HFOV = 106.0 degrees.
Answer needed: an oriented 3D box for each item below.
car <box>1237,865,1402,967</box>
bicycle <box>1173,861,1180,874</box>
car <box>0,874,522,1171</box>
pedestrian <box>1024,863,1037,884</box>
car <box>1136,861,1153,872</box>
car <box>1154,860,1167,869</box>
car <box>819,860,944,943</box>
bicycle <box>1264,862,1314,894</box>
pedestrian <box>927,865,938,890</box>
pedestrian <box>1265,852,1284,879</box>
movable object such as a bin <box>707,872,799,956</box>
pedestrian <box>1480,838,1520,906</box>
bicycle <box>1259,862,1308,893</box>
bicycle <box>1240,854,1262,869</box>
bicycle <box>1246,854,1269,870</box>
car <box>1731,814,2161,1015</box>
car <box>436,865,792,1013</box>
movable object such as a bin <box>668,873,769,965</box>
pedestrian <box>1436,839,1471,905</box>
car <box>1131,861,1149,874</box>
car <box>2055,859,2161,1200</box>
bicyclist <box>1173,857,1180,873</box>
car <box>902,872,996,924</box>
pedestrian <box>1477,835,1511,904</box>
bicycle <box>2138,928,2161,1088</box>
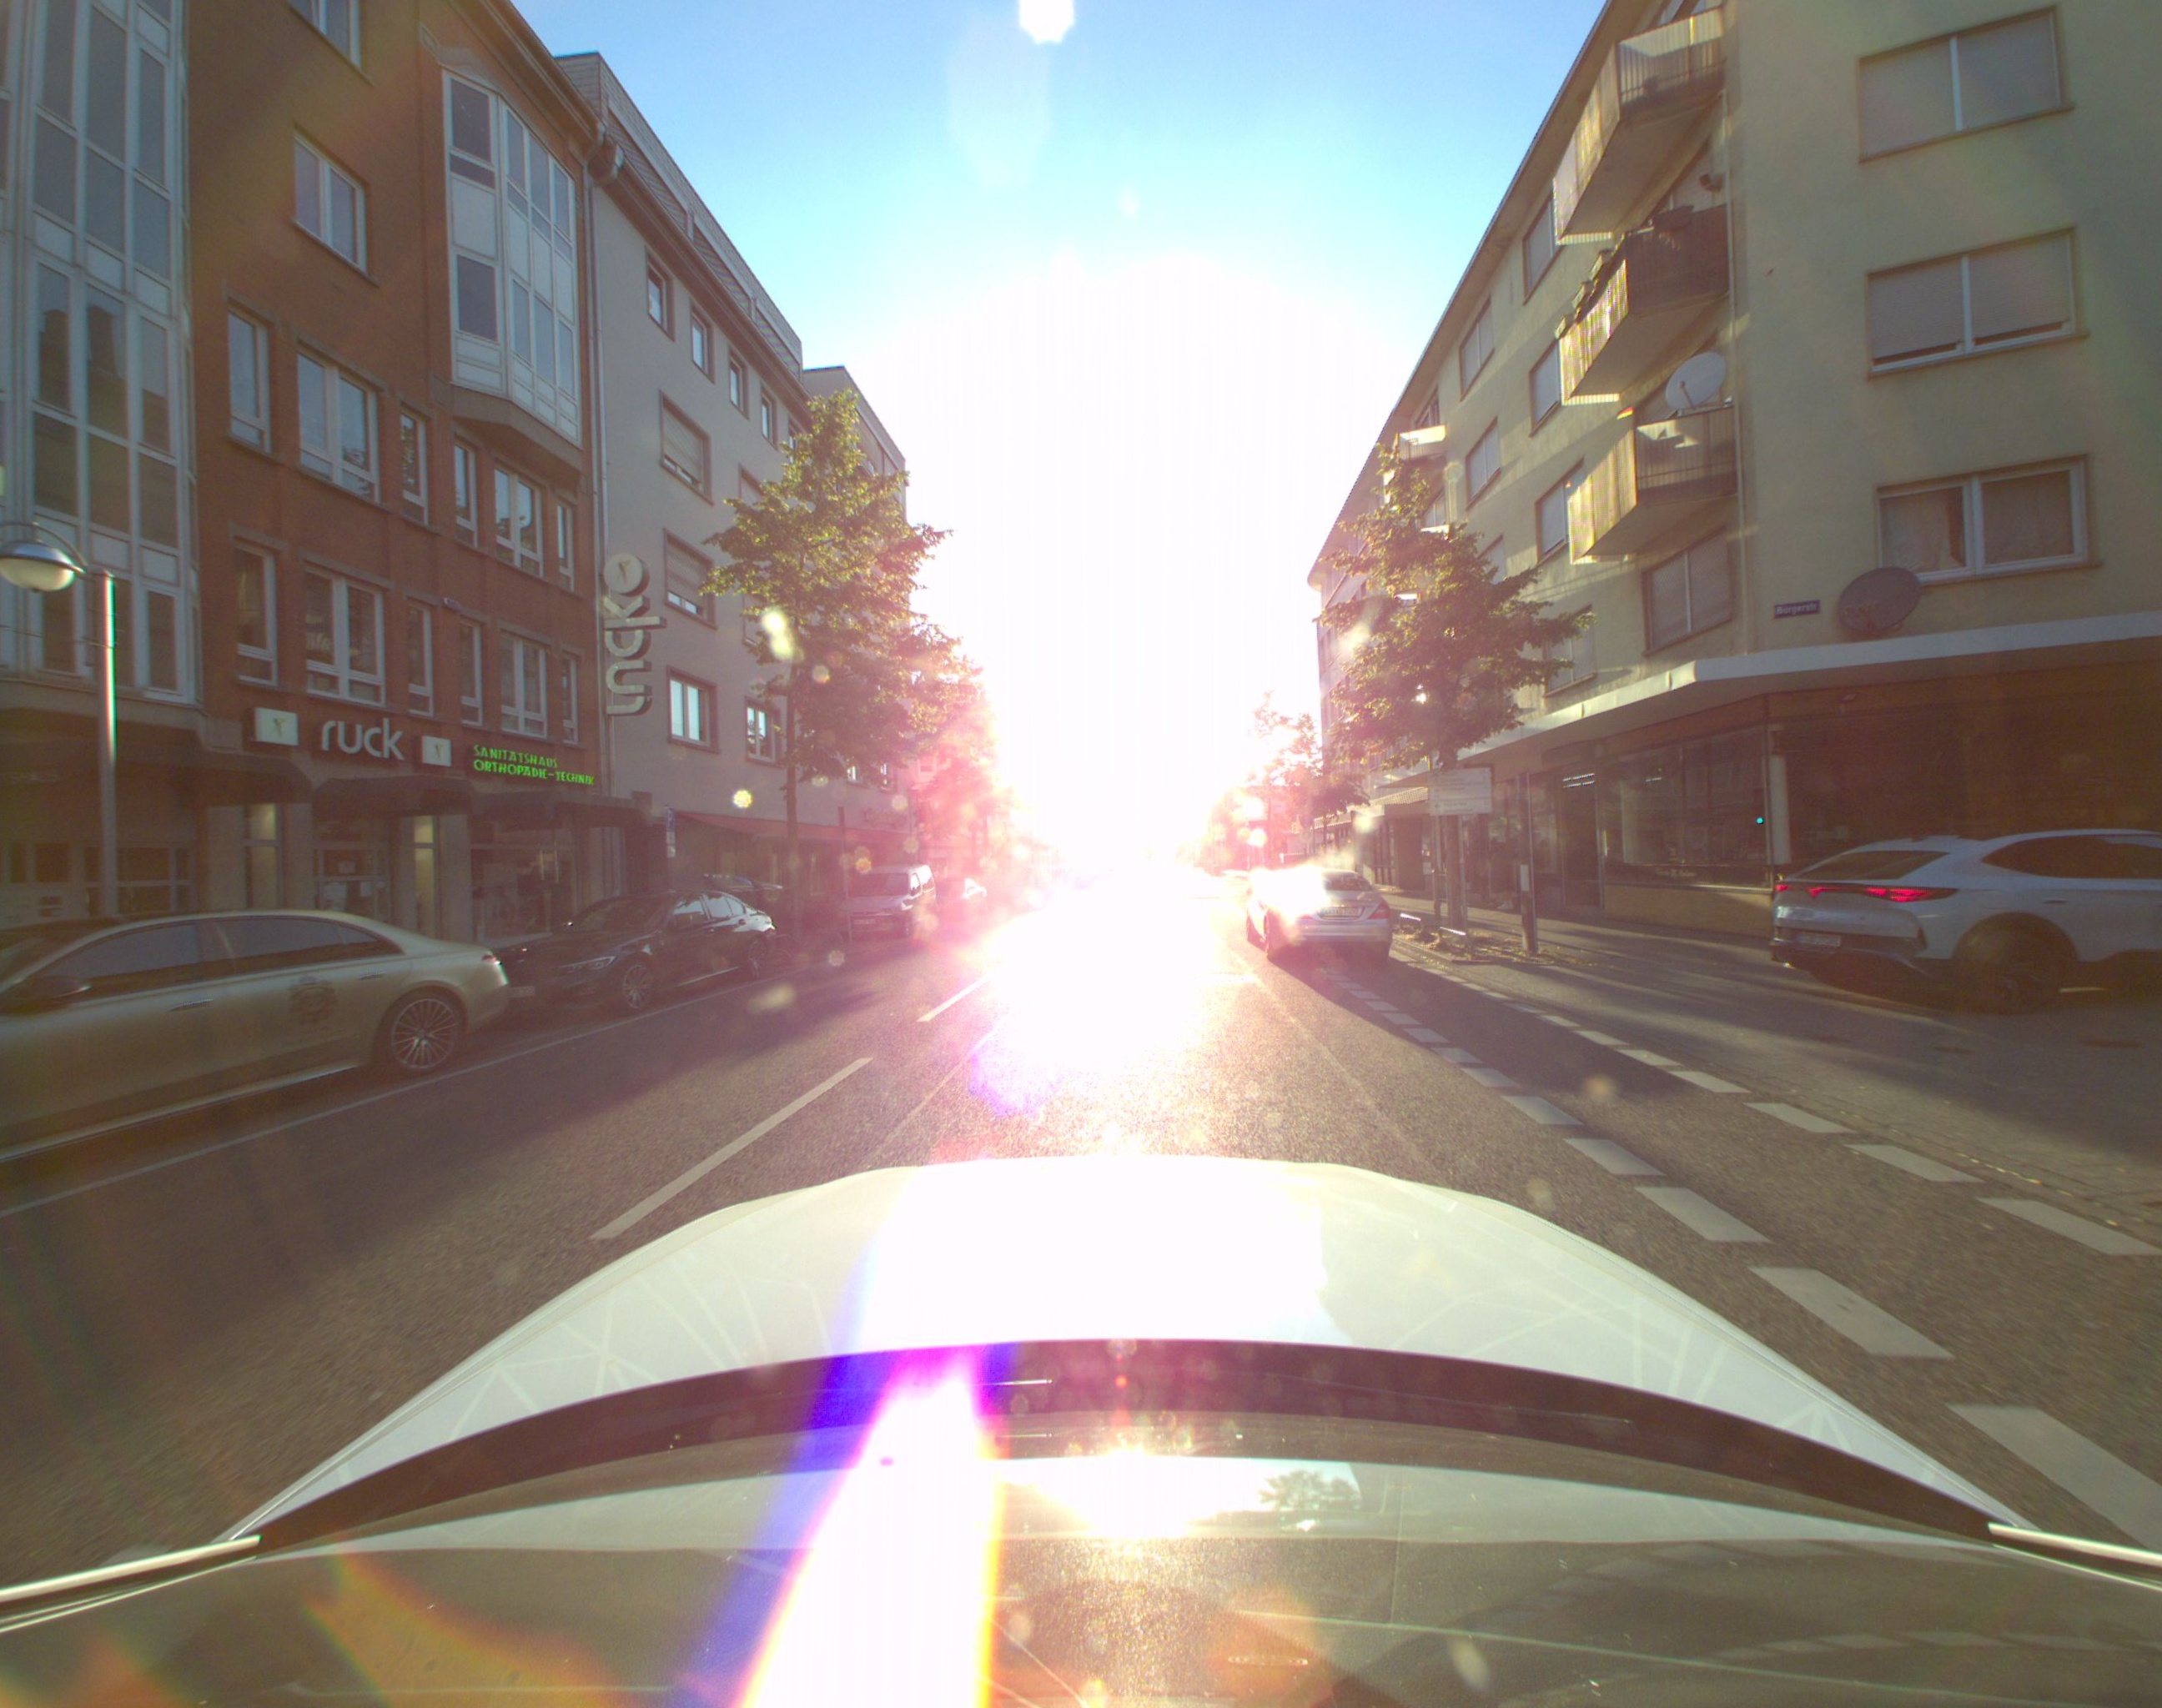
[{"bbox_3d":[3.782,0.904,13.725,1.792,1.378,4.558,-1,0,5],"label":"car"},{"bbox_3d":[10.328,1.427,88.071,0.675,1.402,2.234,-3,-1,8],"label":"bicycle"},{"bbox_3d":[-6.692,0.999,5.404,1.983,1.511,5.122,-3,-1,6],"label":"car"},{"bbox_3d":[-3.883,1.479,62.634,0.869,1.548,0.695,-2,-1,-16],"label":"pedestrian"},{"bbox_3d":[9.967,1.948,127.575,2.292,1.678,5.541,-3,-1,6],"label":"car"},{"bbox_3d":[15.256,2.019,155.814,2.292,1.678,5.541,-3,-1,6],"label":"car"},{"bbox_3d":[-4.918,1.103,20.699,1.907,1.787,4.151,-3,-1,2],"label":"car"},{"bbox_3d":[8.488,0.968,33.255,1.902,1.203,0.471,-3,-1,7],"label":"bicycle"},{"bbox_3d":[-10.690,1.710,58.565,0.698,1.745,0.636,-2,-1,-16],"label":"pedestrian"},{"bbox_3d":[12.724,0.756,53.603,0.796,1.726,1.000,-5,-2,34],"label":"pedestrian"},{"bbox_3d":[-6.934,1.233,17.312,1.276,1.673,1.442,1,-1,3],"label":"movable object such as a bin"},{"bbox_3d":[10.565,0.445,20.559,0.638,1.660,0.778,0,0,6],"label":"pedestrian"},{"bbox_3d":[8.392,0.968,33.761,1.902,1.203,0.471,-3,-1,7],"label":"bicycle"},{"bbox_3d":[18.508,0.855,88.744,2.208,1.523,0.683,-3,-1,10],"label":"bicycle"},{"bbox_3d":[18.513,0.864,85.579,2.211,1.523,0.682,-3,-1,7],"label":"bicycle"},{"bbox_3d":[9.241,0.496,7.961,4.152,1.611,1.858,-3,-1,3],"label":"car"},{"bbox_3d":[-6.026,0.979,11.362,1.905,1.511,4.645,-3,-1,5],"label":"car"},{"bbox_3d":[-7.026,1.219,15.880,1.274,1.673,1.370,1,-1,3],"label":"movable object such as a bin"},{"bbox_3d":[10.247,0.486,22.413,0.704,1.807,0.651,0,0,6],"label":"pedestrian"},{"bbox_3d":[8.696,1.960,120.057,2.292,1.678,5.541,-3,-1,6],"label":"car"},{"bbox_3d":[5.239,0.699,1.701,1.714,1.421,4.037,-3,-1,5],"label":"car"},{"bbox_3d":[10.287,1.143,87.956,0.675,1.707,0.671,-3,-1,7],"label":"bicyclist"},{"bbox_3d":[-4.196,1.376,26.652,1.905,1.386,4.388,-3,-1,5],"label":"car"},{"bbox_3d":[10.925,0.401,21.548,0.581,1.783,0.526,0,0,-14],"label":"pedestrian"},{"bbox_3d":[6.642,0.919,4.162,0.389,0.956,1.616,-2,-1,3],"label":"bicycle"}]
